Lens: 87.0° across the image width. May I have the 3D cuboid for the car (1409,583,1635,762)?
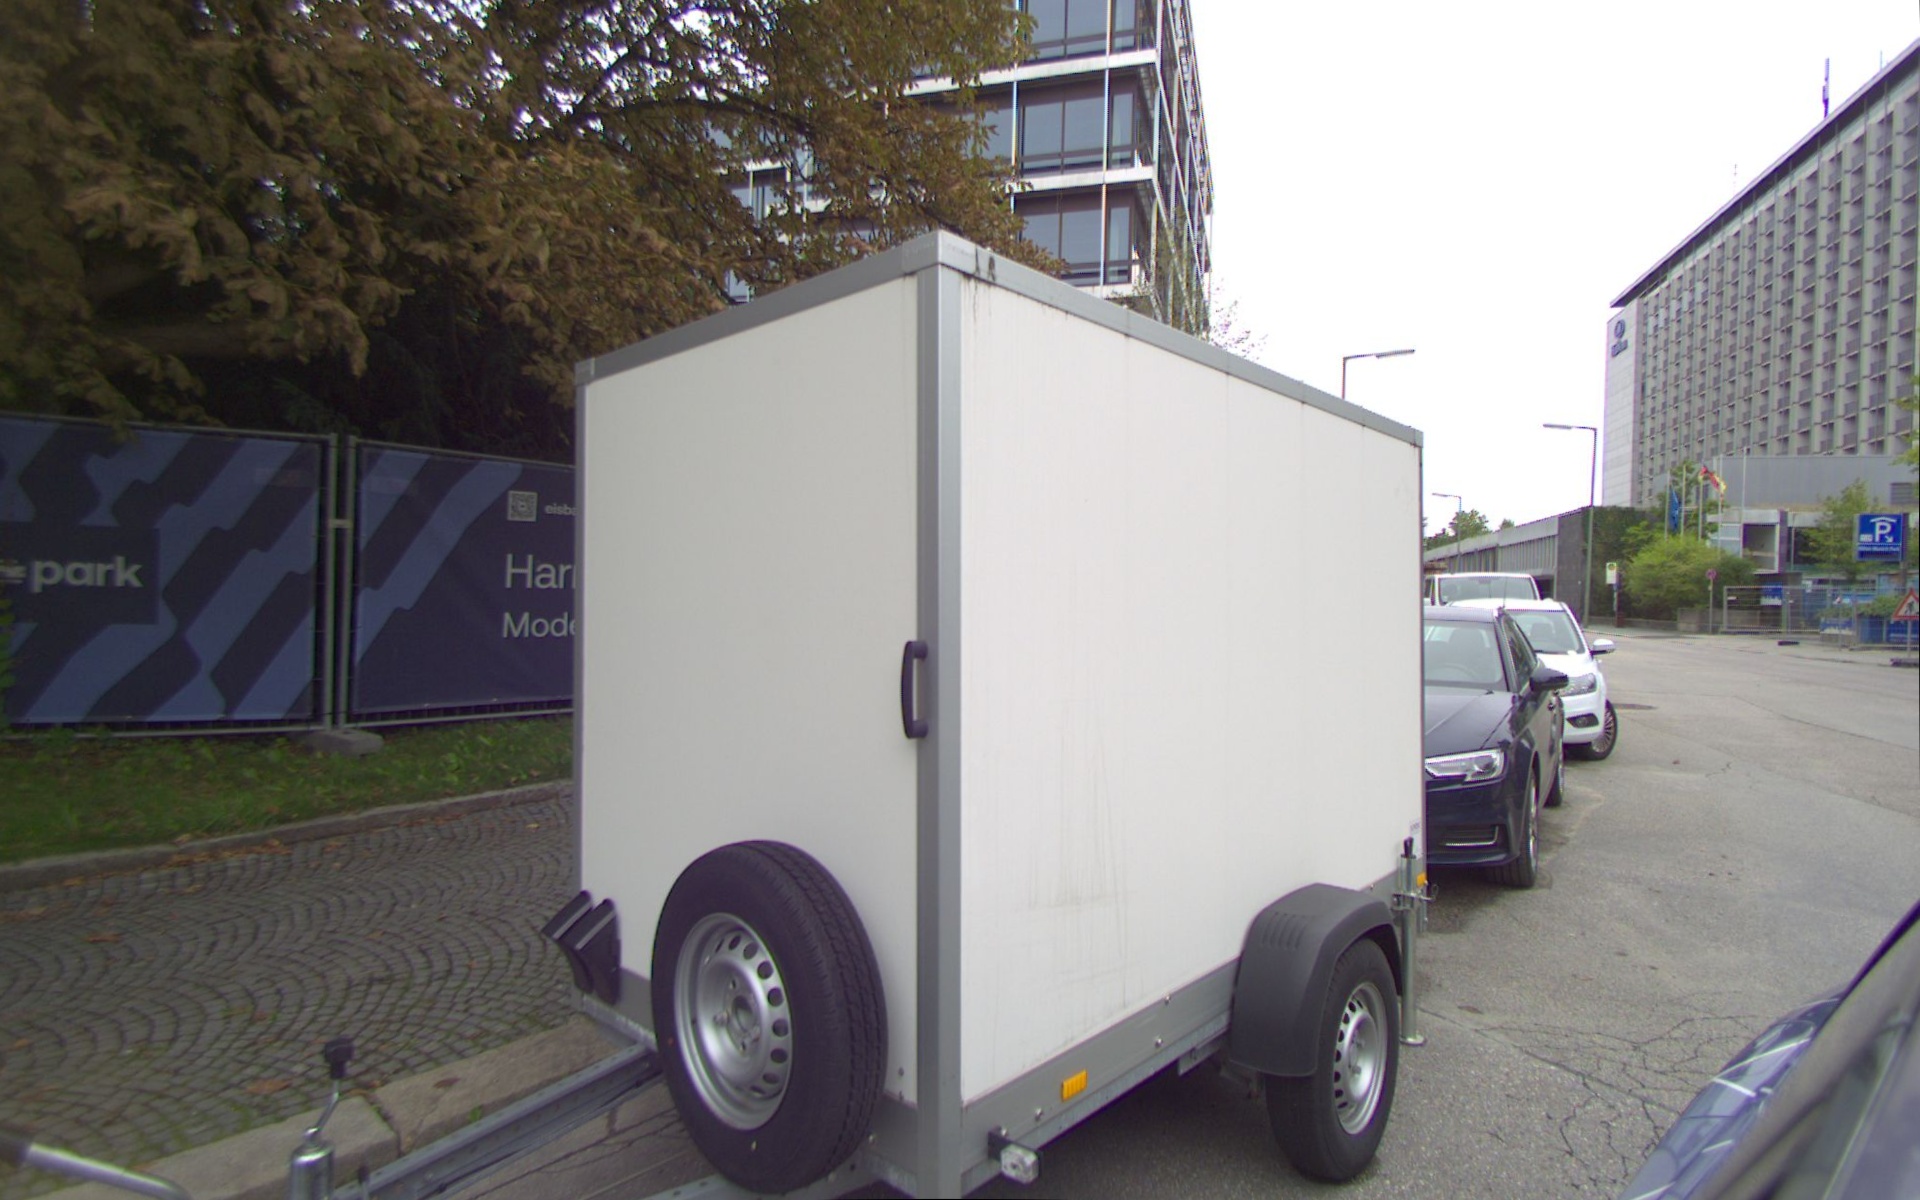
[{"bbox_3d":[6.069,0.603,10.979,1.757,1.504,4.176,2,1,30],"label":"car"}]

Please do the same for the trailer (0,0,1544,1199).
[{"bbox_3d":[-0.251,0.262,2.559,1.810,2.038,4.756,2,2,45],"label":"trailer"}]

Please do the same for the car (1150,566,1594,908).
[{"bbox_3d":[3.020,0.589,6.757,1.866,1.455,4.275,3,2,34],"label":"car"}]

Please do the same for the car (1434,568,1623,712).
[{"bbox_3d":[8.156,0.449,14.929,1.979,1.749,4.413,2,1,24],"label":"car"}]

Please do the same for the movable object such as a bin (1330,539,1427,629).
[{"bbox_3d":[19.389,-0.801,47.464,3.207,3.763,8.962,1,1,16],"label":"movable object such as a bin"}]

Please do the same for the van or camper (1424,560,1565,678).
[{"bbox_3d":[10.609,0.274,20.477,1.977,2.038,5.336,2,1,23],"label":"van or camper"}]
